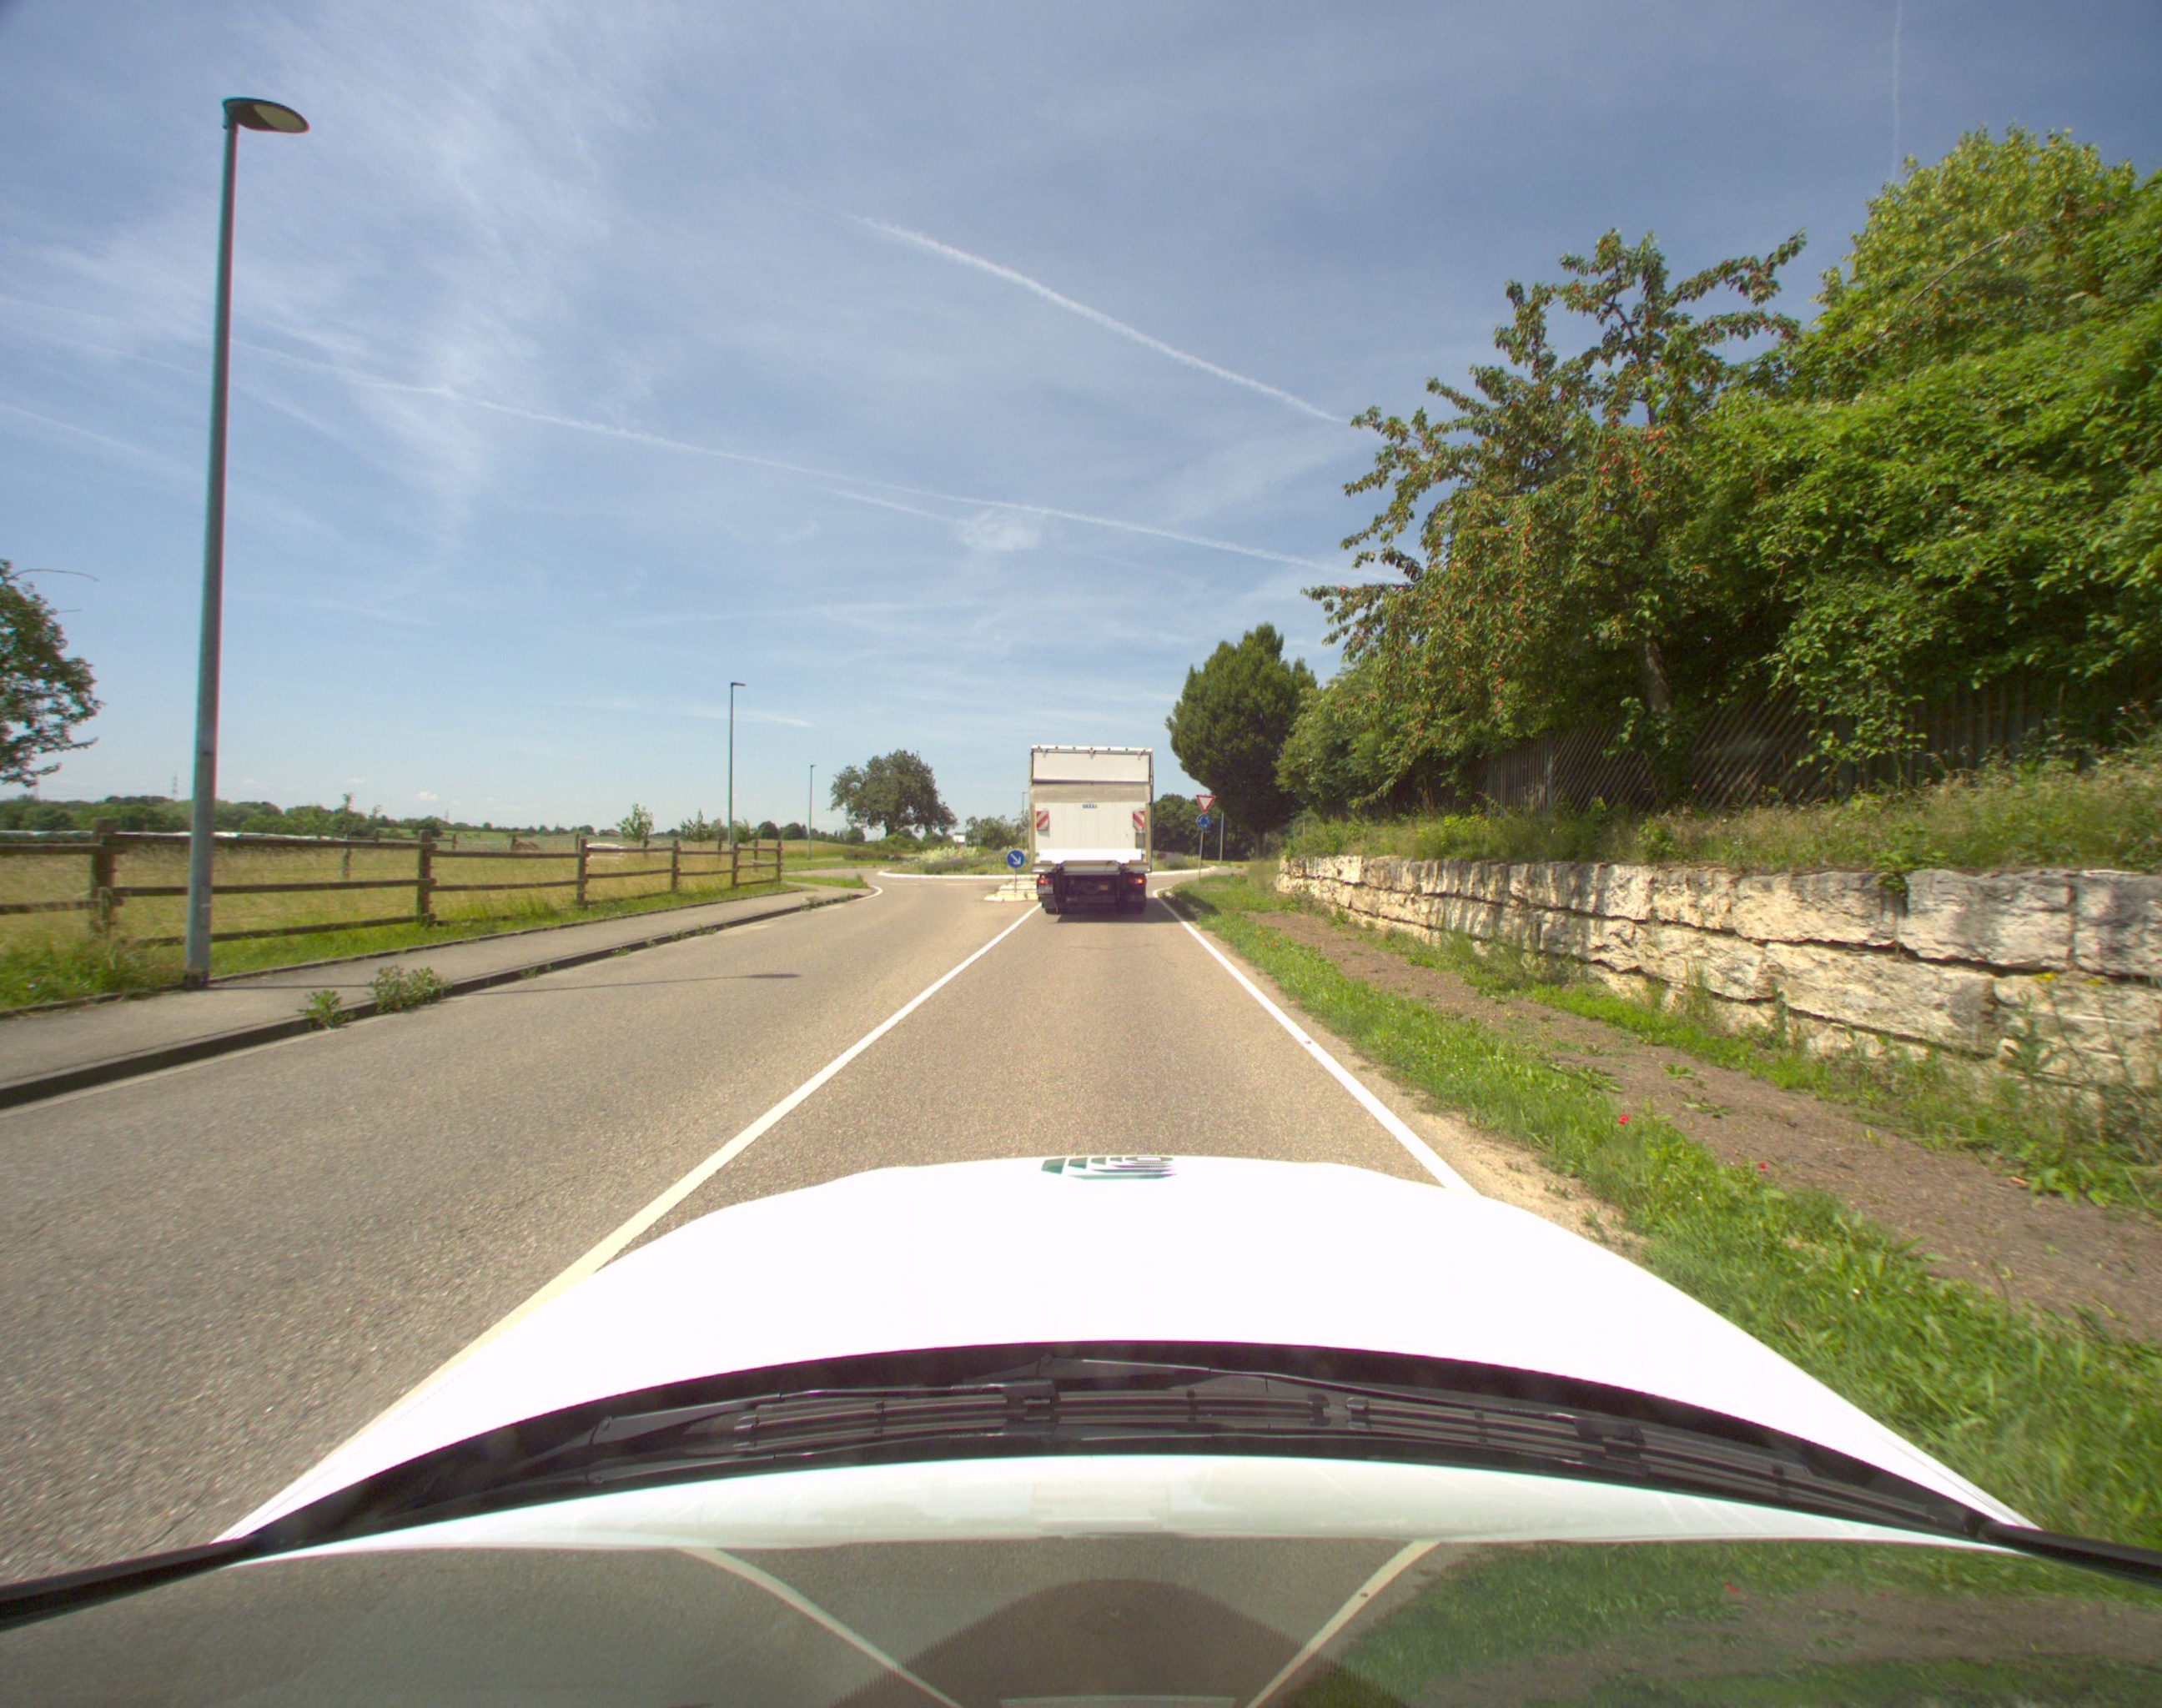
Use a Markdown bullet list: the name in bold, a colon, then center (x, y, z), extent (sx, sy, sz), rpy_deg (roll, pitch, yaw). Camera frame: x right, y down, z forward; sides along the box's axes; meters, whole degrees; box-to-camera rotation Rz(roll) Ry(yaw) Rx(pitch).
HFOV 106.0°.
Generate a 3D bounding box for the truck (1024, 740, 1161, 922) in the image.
- **truck**: center (0.285, -0.494, 21.171), extent (2.757, 3.670, 9.383), rpy_deg (0, 0, 1)
